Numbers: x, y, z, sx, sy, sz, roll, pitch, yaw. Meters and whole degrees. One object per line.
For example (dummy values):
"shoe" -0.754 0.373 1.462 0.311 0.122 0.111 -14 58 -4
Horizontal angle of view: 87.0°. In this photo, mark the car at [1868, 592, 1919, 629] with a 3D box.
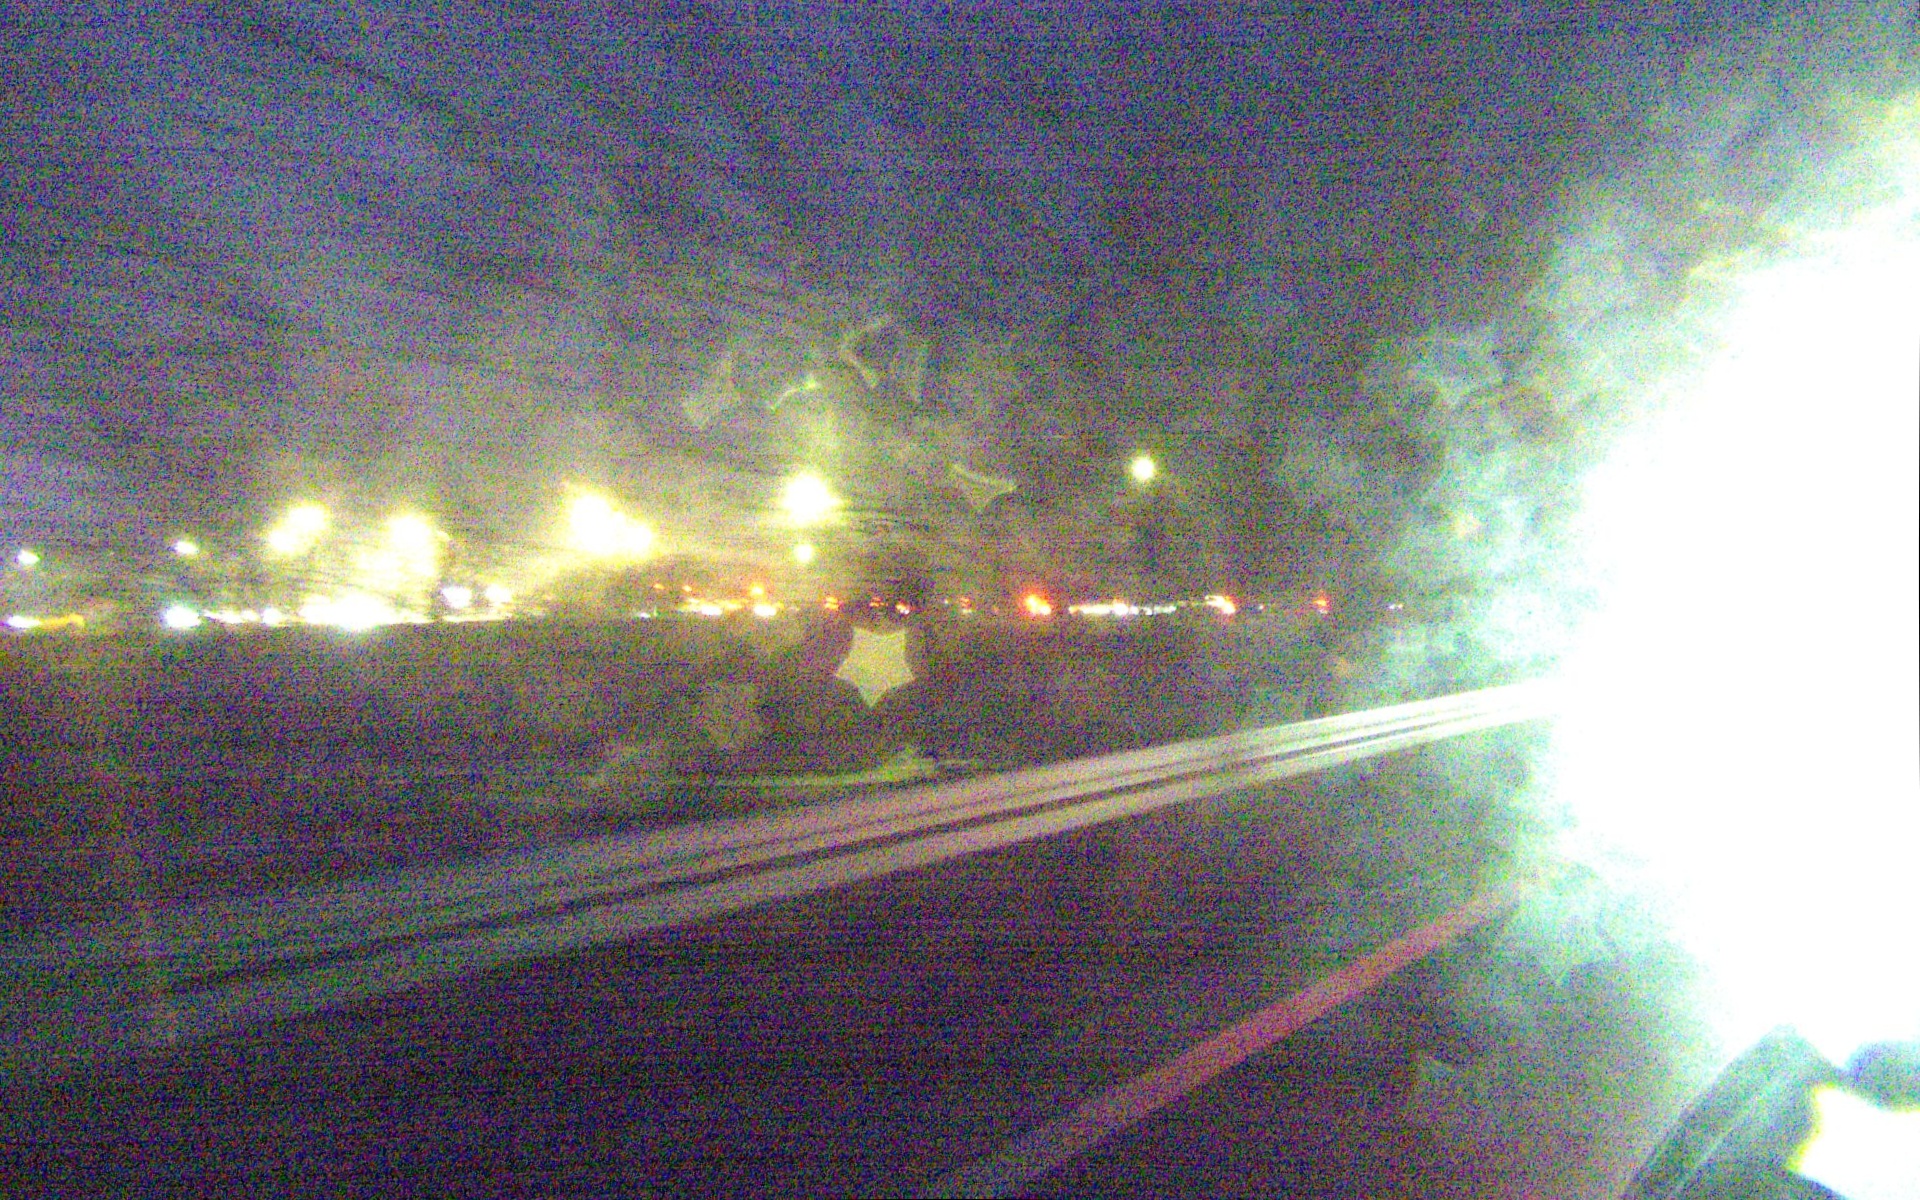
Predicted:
"car" 51.268 0.512 53.944 3.975 1.873 1.837 -5 -4 37

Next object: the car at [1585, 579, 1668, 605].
"car" 39.236 -0.429 59.666 3.967 1.459 1.699 0 -1 31

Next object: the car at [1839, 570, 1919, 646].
"car" 23.745 0.157 24.971 1.978 1.770 4.066 0 0 24

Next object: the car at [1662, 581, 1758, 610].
"car" 40.359 -0.219 54.566 3.967 1.459 1.699 0 -1 31
